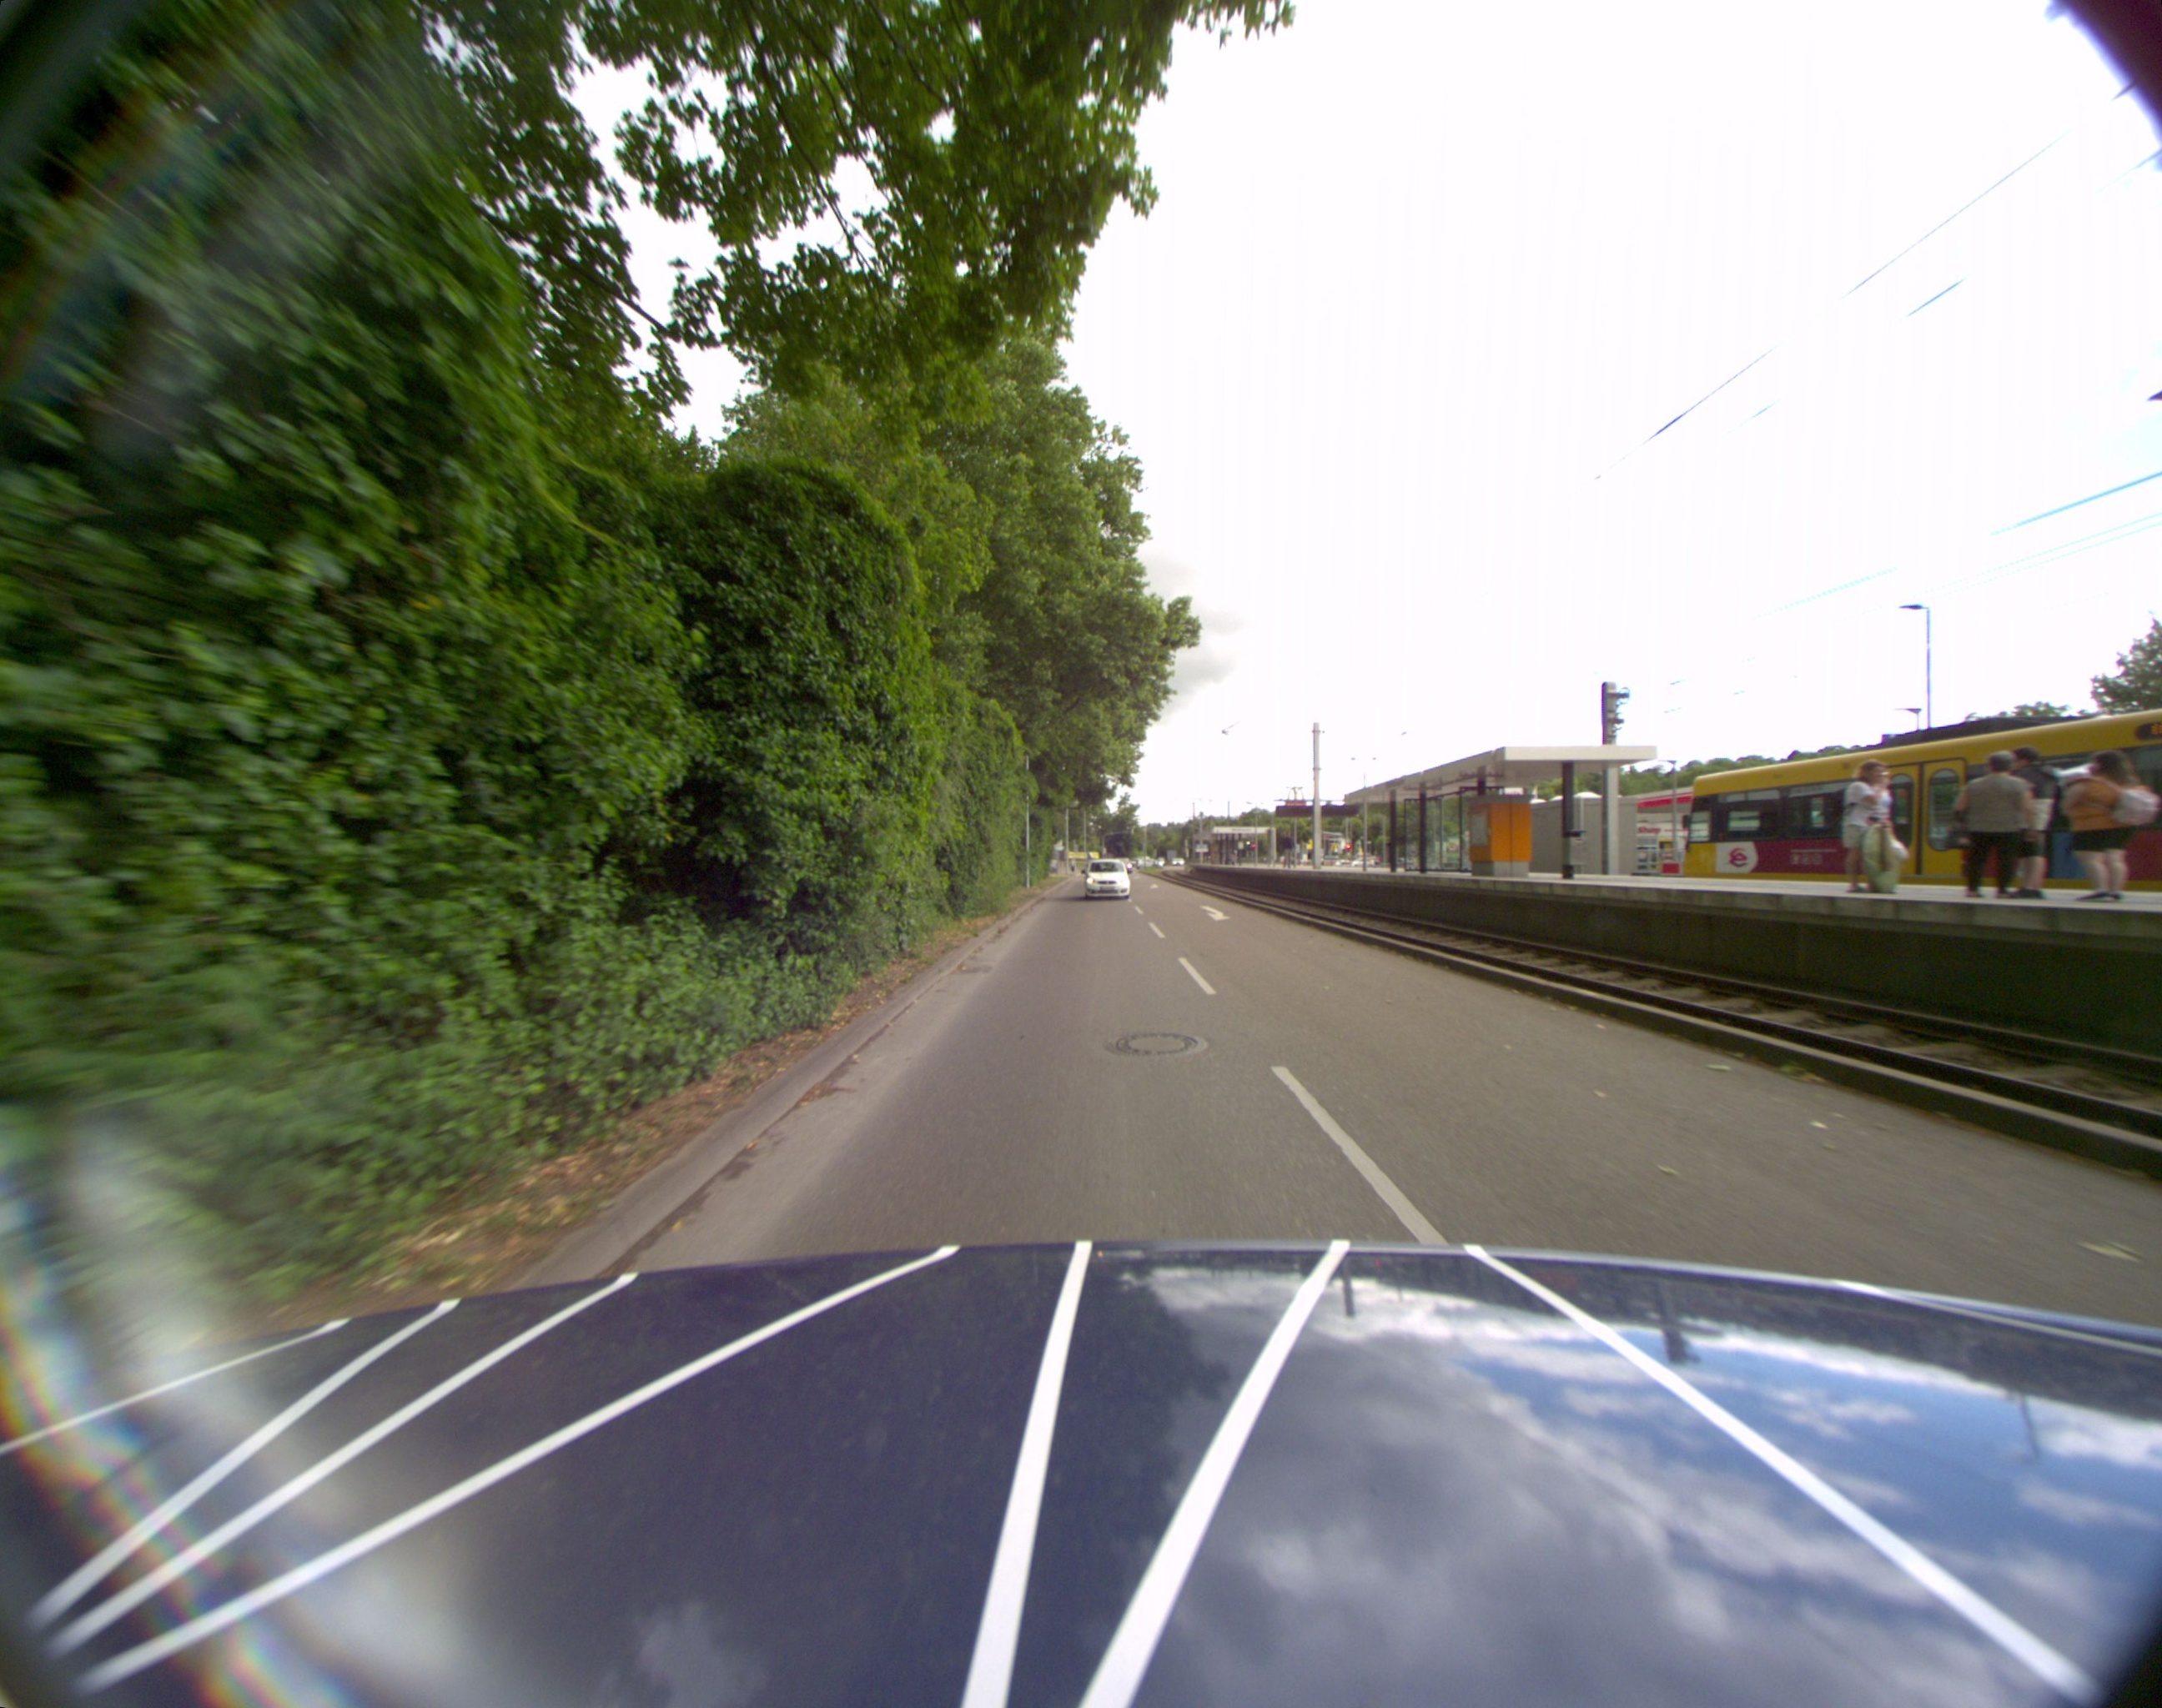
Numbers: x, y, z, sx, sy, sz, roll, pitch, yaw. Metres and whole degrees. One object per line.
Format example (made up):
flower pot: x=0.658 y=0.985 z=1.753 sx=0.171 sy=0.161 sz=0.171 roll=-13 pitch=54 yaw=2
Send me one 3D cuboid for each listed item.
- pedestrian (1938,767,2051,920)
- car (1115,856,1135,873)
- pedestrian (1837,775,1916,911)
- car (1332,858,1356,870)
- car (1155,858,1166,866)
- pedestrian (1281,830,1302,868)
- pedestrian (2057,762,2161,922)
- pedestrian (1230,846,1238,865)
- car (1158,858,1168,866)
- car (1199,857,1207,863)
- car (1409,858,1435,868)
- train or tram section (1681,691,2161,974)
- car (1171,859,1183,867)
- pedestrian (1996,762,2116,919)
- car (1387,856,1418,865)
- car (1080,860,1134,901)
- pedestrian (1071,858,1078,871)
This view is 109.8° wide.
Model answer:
pedestrian: x=9.074 y=-0.099 z=7.565 sx=0.361 sy=1.456 sz=0.639 roll=0 pitch=0 yaw=1
car: x=4.419 y=1.011 z=76.335 sx=1.895 sy=1.607 sz=4.510 roll=0 pitch=0 yaw=5
pedestrian: x=8.952 y=-0.117 z=8.570 sx=0.519 sy=1.474 sz=0.583 roll=1 pitch=1 yaw=40
car: x=30.633 y=1.178 z=88.588 sx=1.617 sy=1.342 sz=4.031 roll=0 pitch=0 yaw=3
car: x=16.957 y=1.707 z=162.579 sx=1.829 sy=1.543 sz=4.004 roll=1 pitch=0 yaw=12
pedestrian: x=9.901 y=-0.224 z=35.771 sx=0.750 sy=1.734 sz=0.937 roll=1 pitch=0 yaw=2
pedestrian: x=9.370 y=-0.103 z=6.889 sx=0.480 sy=1.397 sz=0.411 roll=1 pitch=0 yaw=0
pedestrian: x=13.299 y=0.157 z=66.137 sx=0.585 sy=1.611 sz=0.572 roll=1 pitch=0 yaw=3
car: x=18.126 y=1.769 z=167.944 sx=1.829 sy=1.543 sz=4.004 roll=1 pitch=0 yaw=11
car: x=41.128 y=2.068 z=256.574 sx=1.998 sy=2.002 sz=4.000 roll=1 pitch=0 yaw=1
car: x=57.662 y=1.559 z=128.645 sx=1.731 sy=1.545 sz=3.631 roll=1 pitch=0 yaw=-35
train or tram section: x=16.096 y=-0.301 z=9.903 sx=2.762 sy=3.860 sz=18.636 roll=0 pitch=0 yaw=3
car: x=18.831 y=1.703 z=149.094 sx=1.965 sy=1.543 sz=4.004 roll=1 pitch=0 yaw=11
pedestrian: x=9.585 y=-0.123 z=7.480 sx=0.477 sy=1.474 sz=0.542 roll=1 pitch=0 yaw=-9
car: x=52.353 y=1.087 z=123.604 sx=4.419 sy=1.423 sz=1.794 roll=0 pitch=0 yaw=-11
car: x=0.931 y=0.977 z=28.965 sx=1.674 sy=1.439 sz=3.603 roll=0 pitch=0 yaw=-4
pedestrian: x=-0.800 y=1.198 z=90.362 sx=0.755 sy=1.505 sz=0.671 roll=1 pitch=0 yaw=2
